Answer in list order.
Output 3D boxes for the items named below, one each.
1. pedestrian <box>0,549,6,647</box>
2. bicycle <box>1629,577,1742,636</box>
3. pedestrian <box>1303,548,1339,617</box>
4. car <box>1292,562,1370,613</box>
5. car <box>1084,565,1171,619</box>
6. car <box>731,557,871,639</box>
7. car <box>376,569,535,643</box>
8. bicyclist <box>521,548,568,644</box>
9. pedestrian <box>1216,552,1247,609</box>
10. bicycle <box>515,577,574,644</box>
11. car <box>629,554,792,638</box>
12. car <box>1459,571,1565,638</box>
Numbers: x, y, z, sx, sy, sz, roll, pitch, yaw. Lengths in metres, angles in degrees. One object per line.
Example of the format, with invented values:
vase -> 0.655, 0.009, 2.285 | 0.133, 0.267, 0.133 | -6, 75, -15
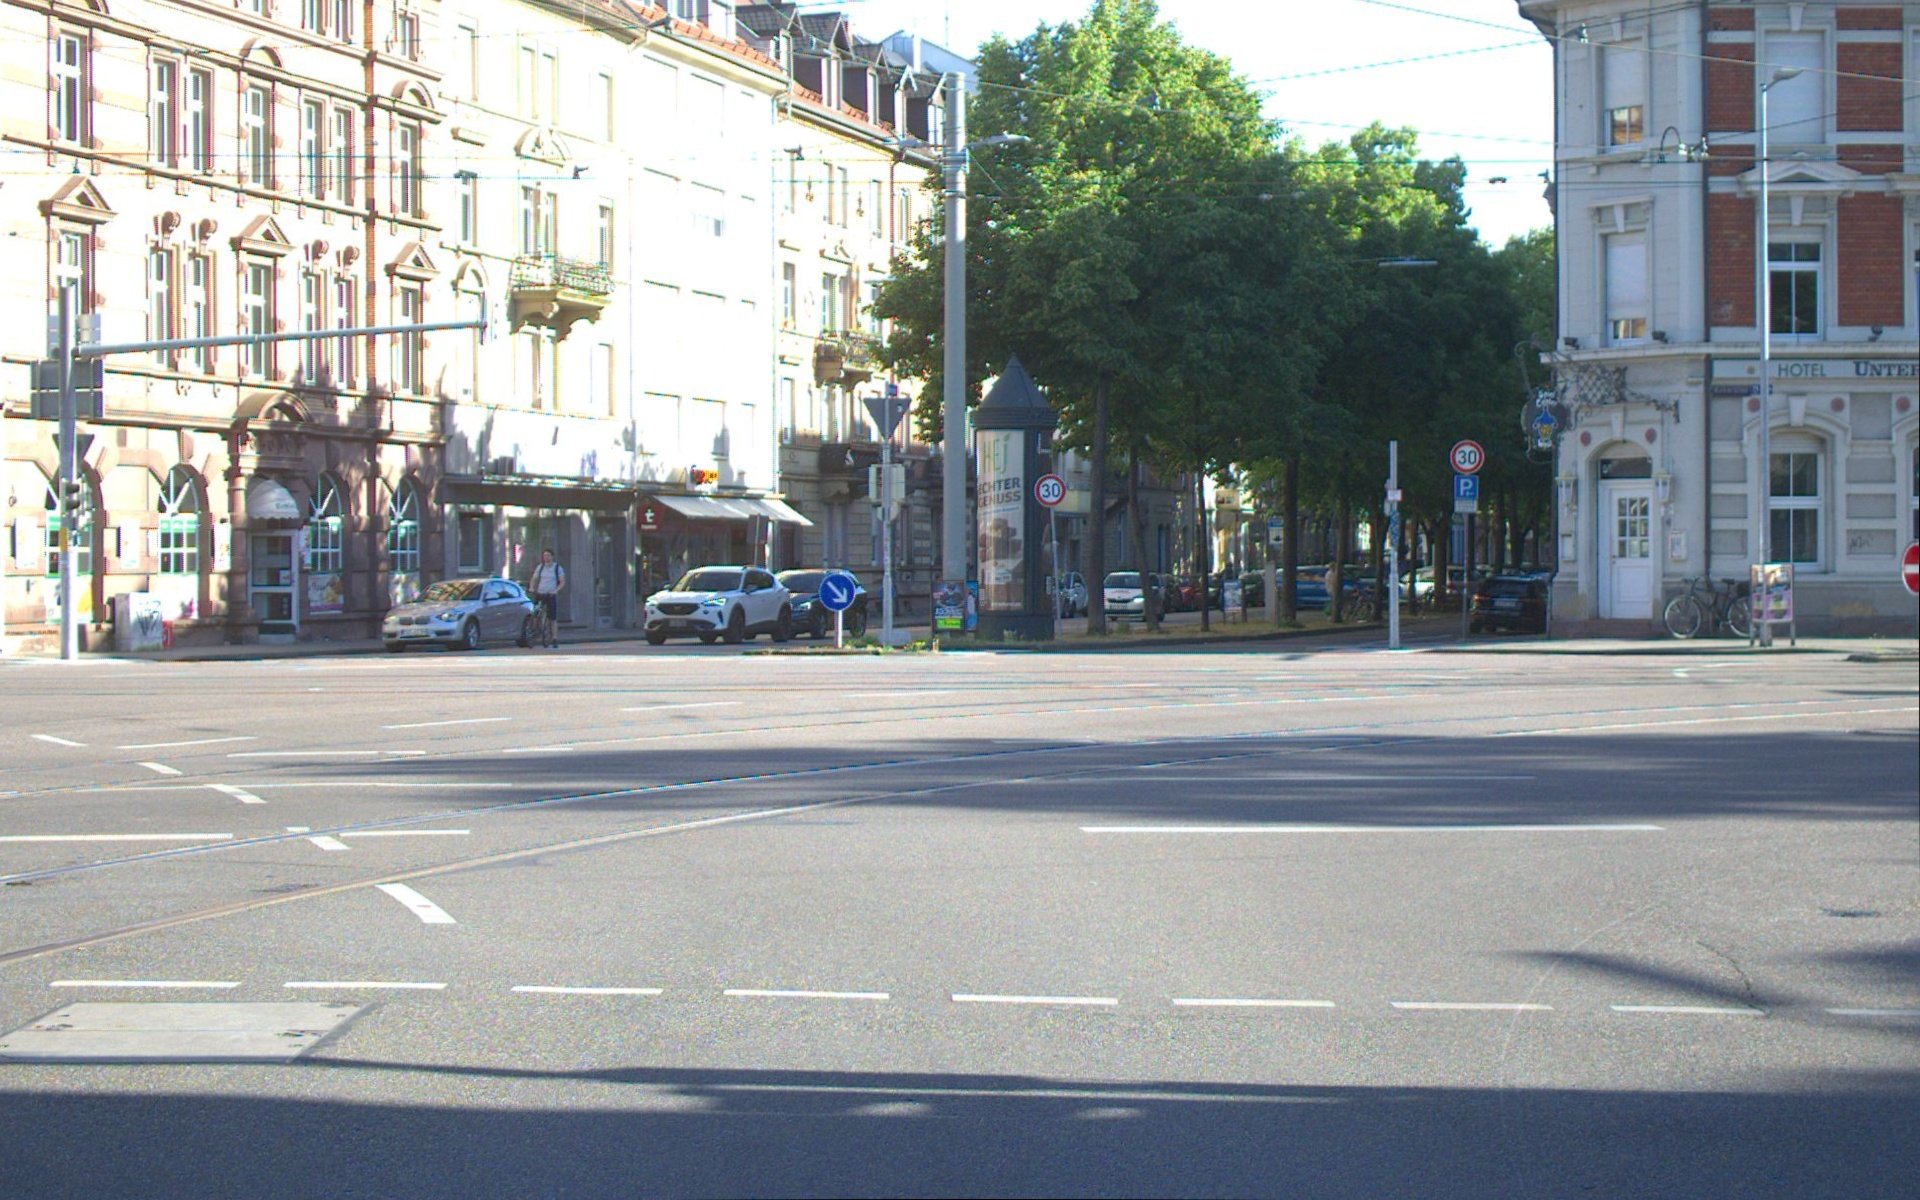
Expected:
pedestrian -> -16.312, -0.040, 56.996 | 0.568, 1.636, 0.792 | 1, 0, 23
bicycle -> 12.059, 0.103, 57.136 | 1.804, 0.959, 0.603 | 1, 0, 14
pedestrian -> 10.713, -0.517, 102.000 | 0.961, 2.007, 0.918 | 1, 0, 1
car -> 12.607, -0.428, 116.627 | 1.995, 1.678, 3.997 | 1, 1, 15
car -> 5.020, -0.244, 102.657 | 1.804, 1.570, 3.888 | 1, 1, 15
car -> -3.372, -0.063, 73.629 | 1.826, 1.679, 3.872 | 1, 1, 16
car -> -9.788, 0.102, 66.990 | 1.661, 1.369, 3.889 | 1, 1, 15
bicyclist -> -7.863, -0.084, 65.098 | 0.565, 1.797, 0.913 | 1, 0, 14
pedestrian -> 9.672, -0.706, 122.303 | 0.944, 2.007, 0.826 | 1, 0, 14
bicycle -> -7.860, 0.191, 65.093 | 0.565, 1.250, 1.556 | 1, 1, 14
car -> -4.835, -0.091, 67.262 | 1.804, 1.579, 4.156 | 1, 1, 17
car -> 13.281, 0.101, 82.530 | 1.758, 1.550, 3.996 | 1, 1, 20
